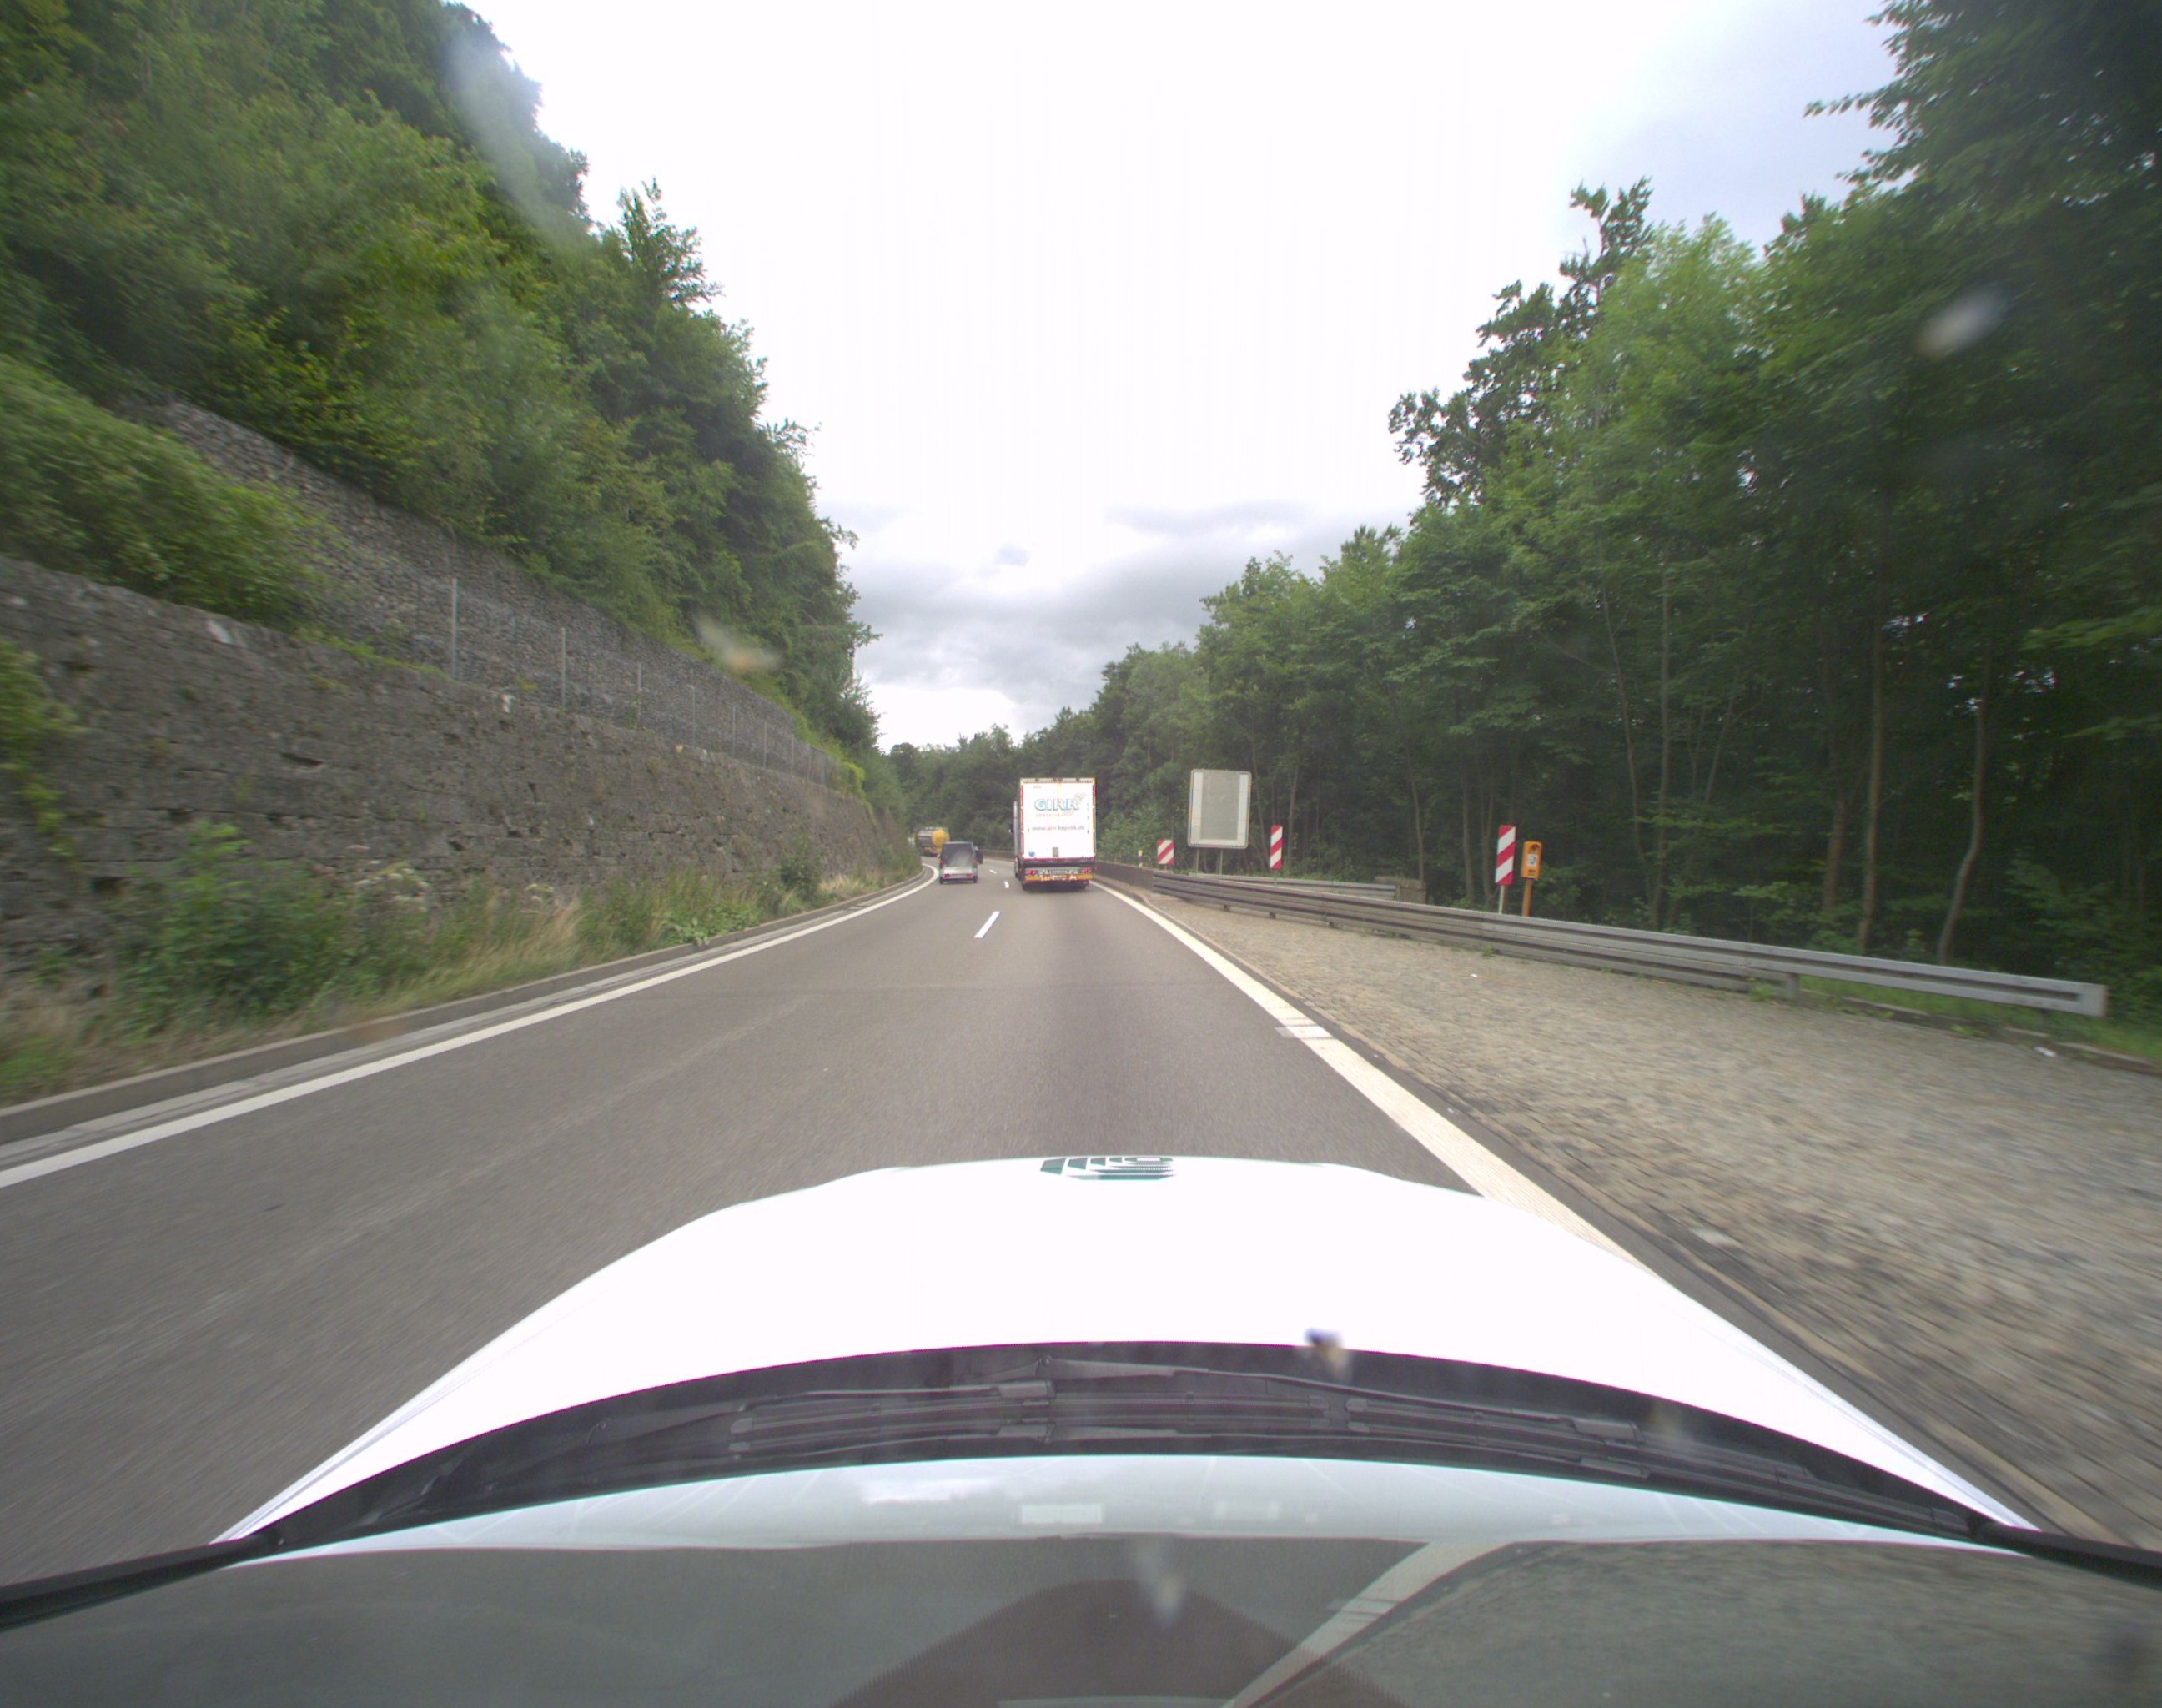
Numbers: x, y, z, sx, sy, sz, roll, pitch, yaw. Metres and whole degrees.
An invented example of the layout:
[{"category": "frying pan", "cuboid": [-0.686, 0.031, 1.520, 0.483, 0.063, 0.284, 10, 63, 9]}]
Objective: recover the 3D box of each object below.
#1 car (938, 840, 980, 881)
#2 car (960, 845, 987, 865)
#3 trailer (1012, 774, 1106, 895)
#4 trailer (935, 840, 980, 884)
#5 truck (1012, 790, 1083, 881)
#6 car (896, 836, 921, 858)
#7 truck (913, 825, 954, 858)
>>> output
[{"category": "car", "cuboid": [-6.330, 0.316, 42.638, 1.992, 2.013, 5.526, -1, 0, -7]}, {"category": "car", "cuboid": [-9.665, 0.042, 73.006, 1.997, 1.662, 3.981, 1, 0, -14]}, {"category": "trailer", "cuboid": [-1.214, -0.850, 33.388, 3.052, 3.985, 12.118, 1, 2, -5]}, {"category": "trailer", "cuboid": [-5.745, 0.346, 38.213, 1.969, 1.939, 3.421, -1, 0, -8]}, {"category": "truck", "cuboid": [-1.778, -0.928, 39.799, 3.052, 3.985, 7.176, 1, 2, -5]}, {"category": "car", "cuboid": [-21.756, -0.944, 102.363, 1.996, 2.672, 6.887, 1, 0, -21]}, {"category": "truck", "cuboid": [-19.670, -1.555, 107.467, 3.068, 3.986, 13.606, -2, 1, -20]}]
